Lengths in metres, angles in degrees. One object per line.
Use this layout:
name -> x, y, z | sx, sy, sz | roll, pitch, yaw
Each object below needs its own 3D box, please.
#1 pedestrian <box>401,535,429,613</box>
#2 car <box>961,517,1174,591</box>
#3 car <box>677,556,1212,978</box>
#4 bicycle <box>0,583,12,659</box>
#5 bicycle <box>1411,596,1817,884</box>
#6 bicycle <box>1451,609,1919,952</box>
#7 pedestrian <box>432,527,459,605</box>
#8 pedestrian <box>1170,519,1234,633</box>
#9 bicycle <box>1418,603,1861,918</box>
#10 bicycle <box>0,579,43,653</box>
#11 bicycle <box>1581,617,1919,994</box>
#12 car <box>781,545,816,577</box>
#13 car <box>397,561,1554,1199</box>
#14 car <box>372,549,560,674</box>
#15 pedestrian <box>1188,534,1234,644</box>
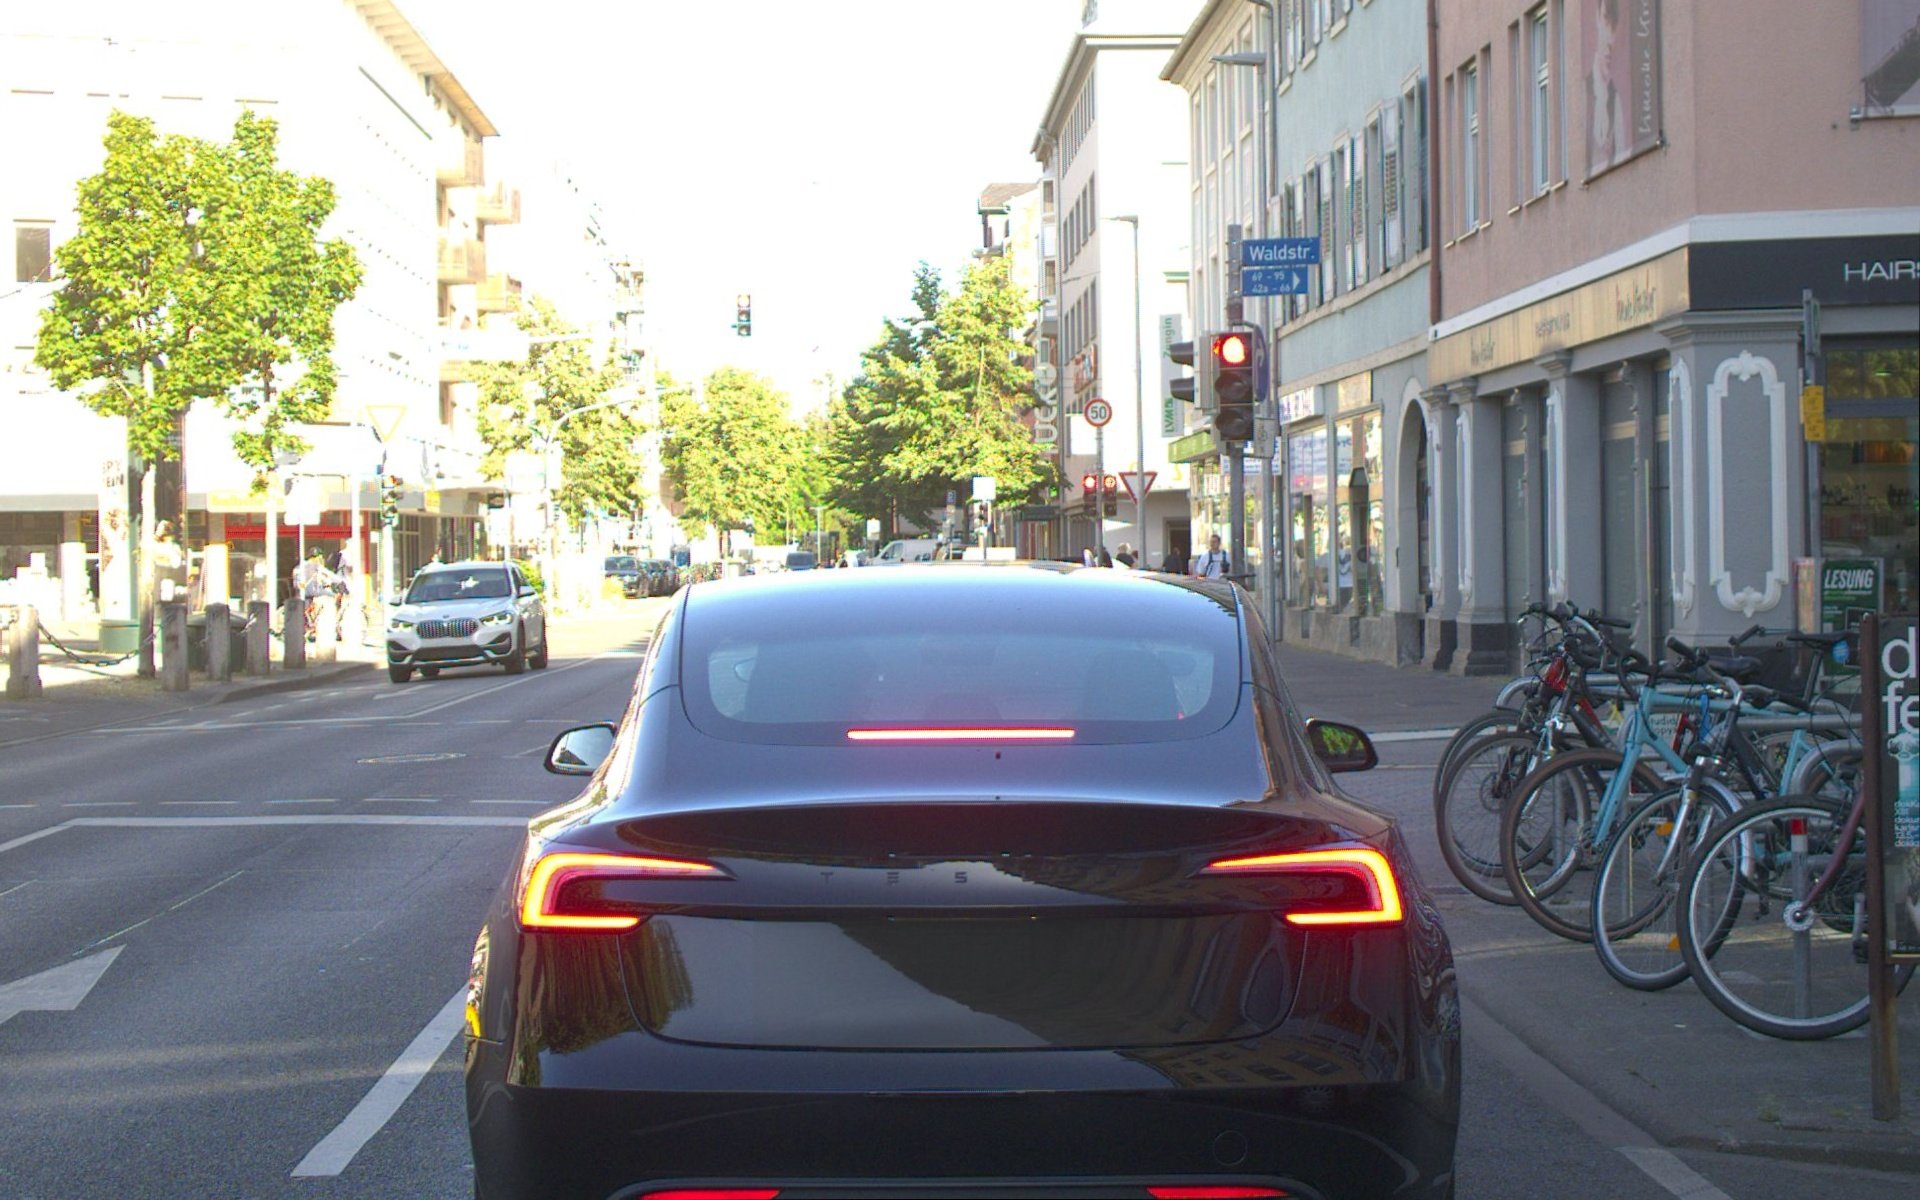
pedestrian -> -14.087, -0.672, 88.893 | 0.626, 2.007, 0.707 | 0, 1, -1
car -> 2.555, -1.104, 81.698 | 4.644, 1.721, 2.054 | 0, 1, 23
car -> -0.047, 0.553, 13.796 | 1.850, 1.450, 3.786 | 0, 1, 0
bicycle -> -14.932, 0.305, 49.983 | 2.082, 1.100, 0.806 | 0, 1, -1
bicycle -> 2.797, 0.594, 14.766 | 1.628, 1.156, 0.433 | -2, 1, 1
bicycle -> 2.648, 0.643, 12.474 | 1.627, 1.156, 0.433 | -2, 1, -1
pedestrian -> -13.301, -0.882, 88.883 | 0.626, 2.007, 0.575 | 0, 1, -1
pedestrian -> 3.934, -0.400, 55.957 | 0.999, 1.844, 0.615 | 0, 1, -1
bicycle -> 2.673, 0.624, 13.585 | 1.627, 1.156, 0.433 | -2, 1, -1
bicycle -> -15.071, 0.235, 52.176 | 2.082, 1.100, 0.806 | 0, 1, -1
bicycle -> 2.898, 0.649, 11.211 | 1.627, 1.156, 0.433 | -2, 1, -1
car -> -8.653, -2.106, 184.527 | 1.829, 1.718, 4.000 | 0, 1, -2
car -> 0.030, 0.650, 7.398 | 1.850, 1.450, 3.786 | 0, 1, 0
car -> -6.829, 0.127, 47.873 | 1.993, 1.535, 4.000 | -4, 1, -1
pedestrian -> 4.078, -0.176, 55.904 | 0.704, 1.777, 0.533 | 0, 1, -1
